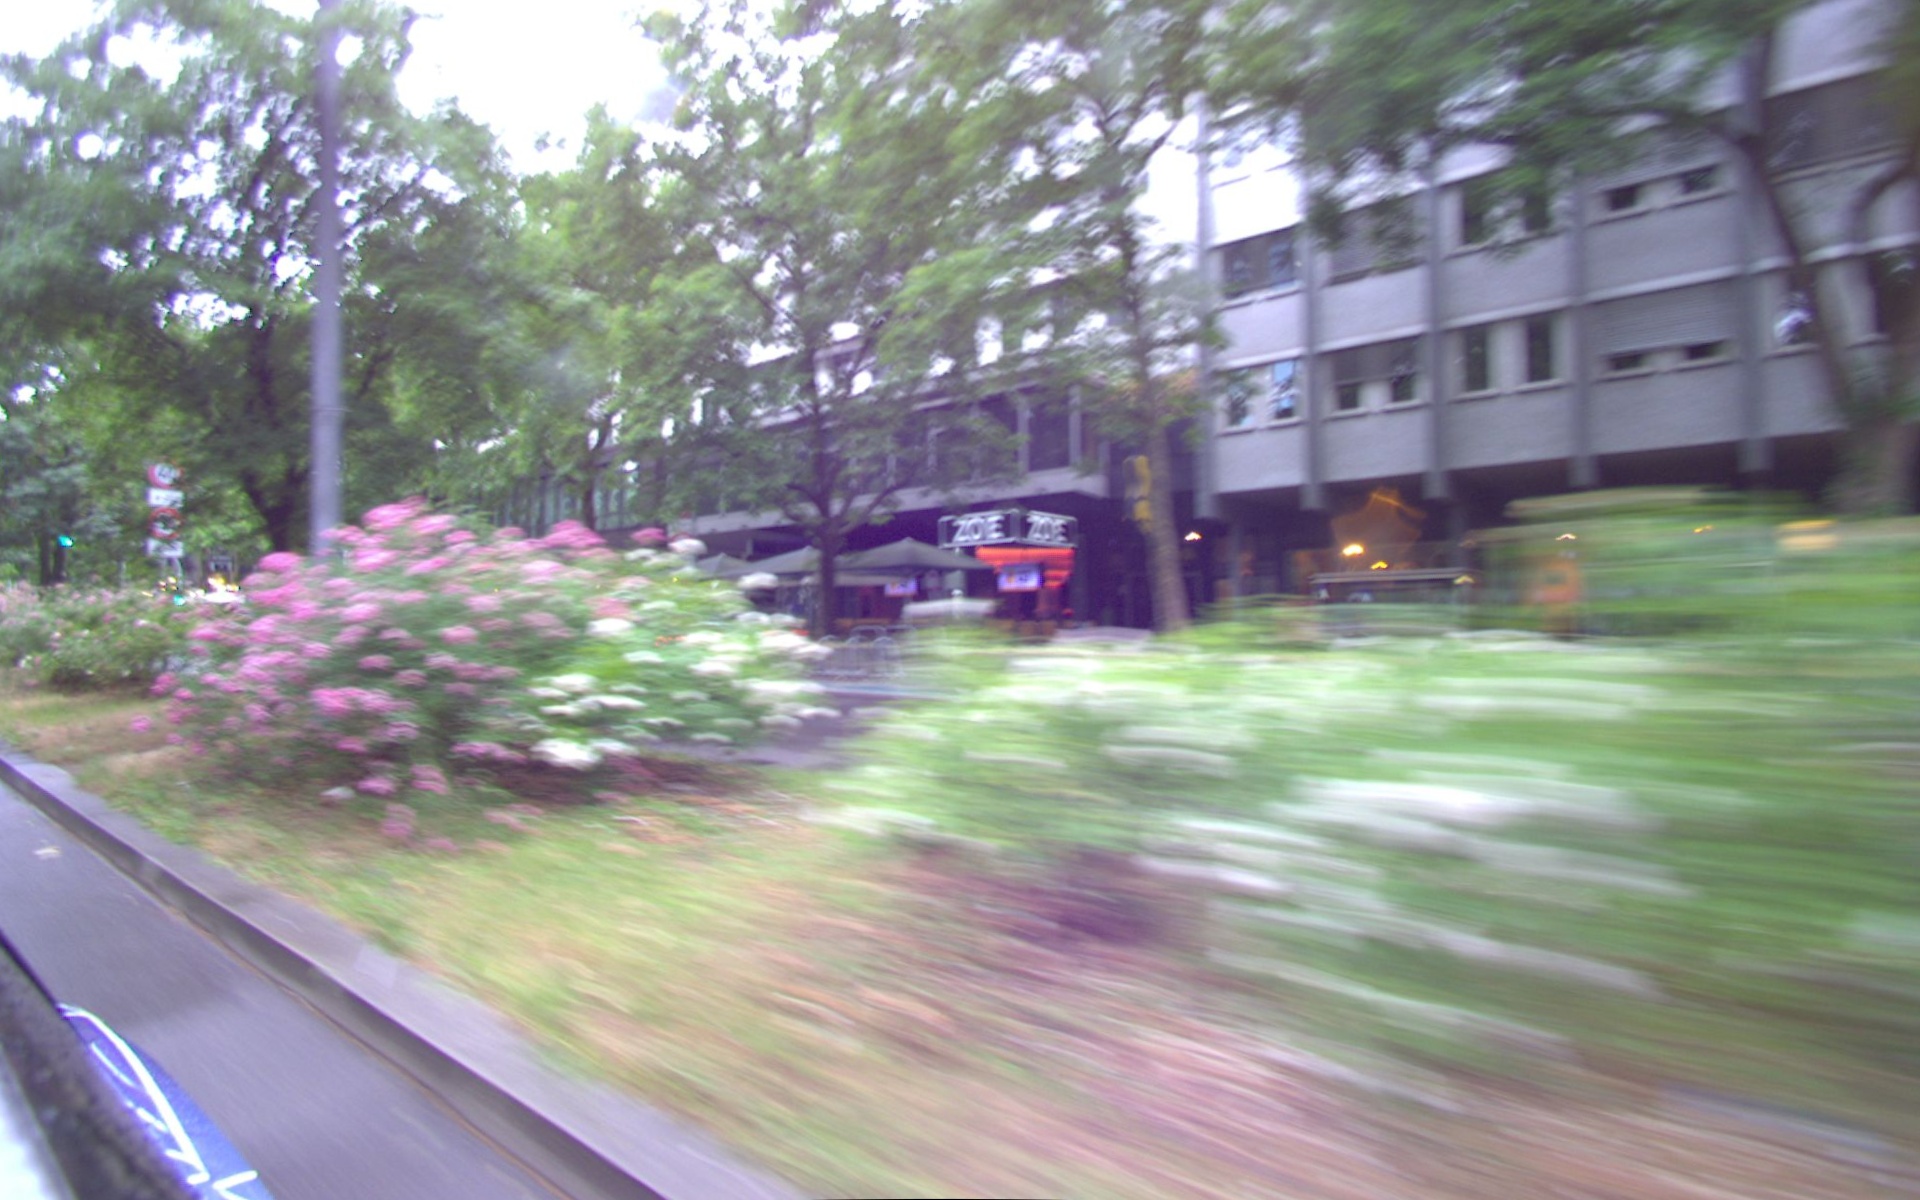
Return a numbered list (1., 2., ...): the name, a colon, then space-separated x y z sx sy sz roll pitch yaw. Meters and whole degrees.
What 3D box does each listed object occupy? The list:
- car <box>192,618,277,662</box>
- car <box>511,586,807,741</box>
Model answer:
1. car: -26.072 1.405 36.308 4.032 1.476 1.621 -1 -1 41
2. car: -3.886 0.705 12.727 4.012 1.650 1.704 -1 -1 41
